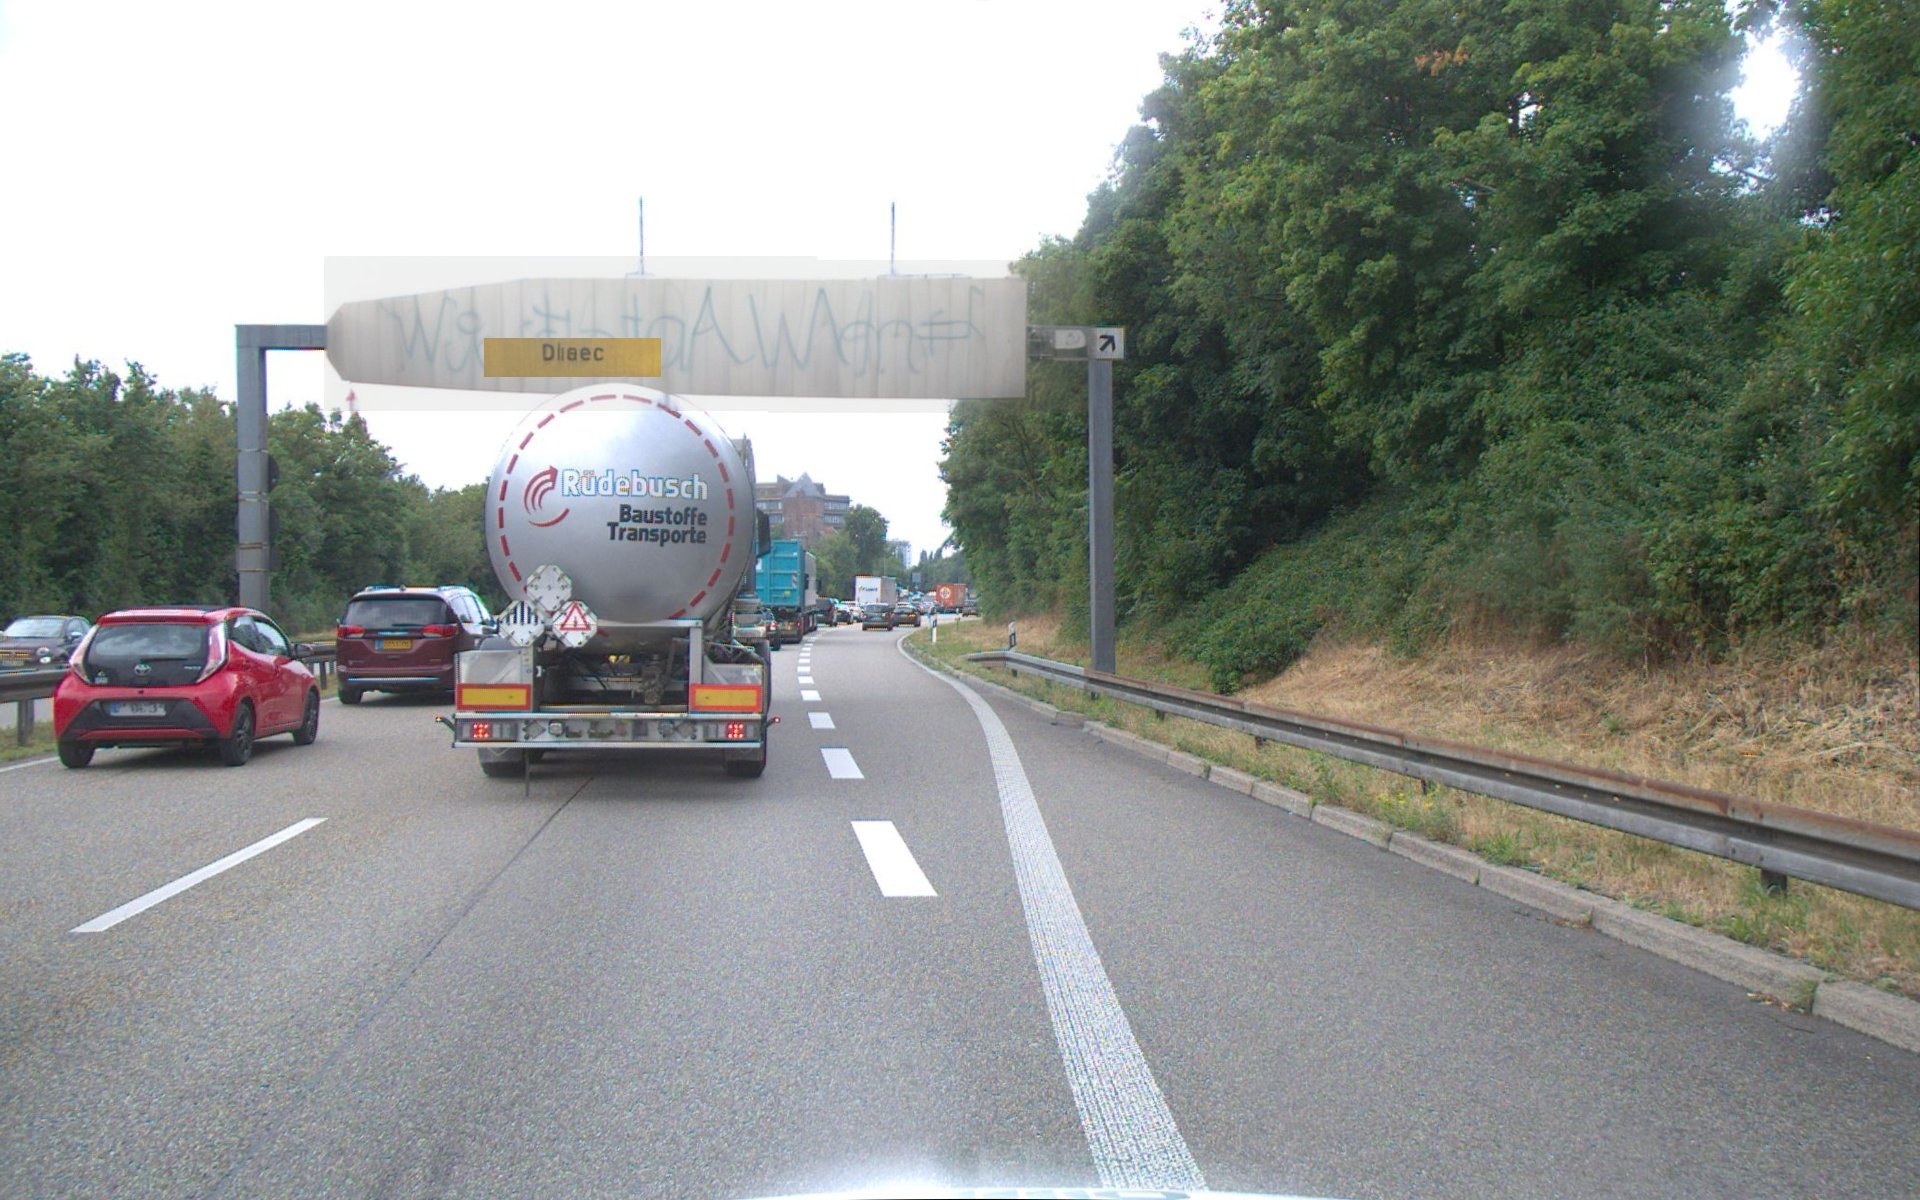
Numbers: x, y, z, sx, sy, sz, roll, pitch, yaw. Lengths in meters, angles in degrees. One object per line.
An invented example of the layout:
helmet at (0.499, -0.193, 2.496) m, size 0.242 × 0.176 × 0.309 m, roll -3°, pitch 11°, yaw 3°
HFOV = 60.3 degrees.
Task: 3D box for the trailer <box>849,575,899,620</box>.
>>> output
trailer at (-8.173, -0.181, 159.432) m, size 3.229 × 4.107 × 13.103 m, roll 1°, pitch -1°, yaw 4°

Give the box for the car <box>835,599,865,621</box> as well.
car at (-9.046, 0.787, 136.295) m, size 1.915 × 1.724 × 4.867 m, roll -1°, pitch 0°, yaw 3°

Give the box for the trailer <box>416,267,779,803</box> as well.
trailer at (-3.371, -0.494, 17.896) m, size 2.632 × 3.975 × 10.969 m, roll -1°, pitch 0°, yaw -7°

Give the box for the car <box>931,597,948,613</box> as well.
car at (-2.771, 0.700, 221.745) m, size 1.951 × 2.049 × 4.002 m, roll -1°, pitch 0°, yaw 5°

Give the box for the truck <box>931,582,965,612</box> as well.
truck at (-1.645, -0.429, 233.077) m, size 3.416 × 4.144 × 13.600 m, roll -1°, pitch 0°, yaw 5°

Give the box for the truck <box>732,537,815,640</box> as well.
truck at (-7.567, -0.441, 68.395) m, size 2.871 × 3.863 × 11.321 m, roll -1°, pitch 0°, yaw -4°

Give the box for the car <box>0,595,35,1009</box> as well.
car at (-4.204, 0.736, 3.500) m, size 2.019 × 1.489 × 5.250 m, roll -1°, pitch 0°, yaw -7°

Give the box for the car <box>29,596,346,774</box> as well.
car at (-7.536, 0.767, 16.564) m, size 1.596 × 1.550 × 4.084 m, roll 1°, pitch -1°, yaw -6°

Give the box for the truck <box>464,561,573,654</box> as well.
truck at (-10.378, 0.188, 39.122) m, size 1.956 × 2.049 × 3.993 m, roll 1°, pitch -1°, yaw -8°

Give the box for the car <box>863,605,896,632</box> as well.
car at (-4.754, 1.094, 98.366) m, size 1.788 × 1.508 × 3.999 m, roll -1°, pitch 0°, yaw -1°

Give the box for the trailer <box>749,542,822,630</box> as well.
trailer at (-8.767, -0.586, 84.560) m, size 2.573 × 4.093 × 13.459 m, roll 1°, pitch -1°, yaw -1°

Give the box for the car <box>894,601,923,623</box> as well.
car at (-3.581, 0.833, 115.056) m, size 1.787 × 1.508 × 4.000 m, roll -1°, pitch 0°, yaw 1°

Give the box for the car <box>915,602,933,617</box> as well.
car at (-4.385, 1.171, 202.190) m, size 1.681 × 1.713 × 4.002 m, roll 1°, pitch -1°, yaw 6°

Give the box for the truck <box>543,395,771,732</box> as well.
truck at (-4.011, -0.448, 23.111) m, size 2.632 × 3.975 × 6.925 m, roll -1°, pitch 0°, yaw -7°

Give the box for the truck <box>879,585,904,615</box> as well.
truck at (-9.942, 0.044, 241.485) m, size 2.681 × 4.211 × 10.700 m, roll 1°, pitch -1°, yaw 3°

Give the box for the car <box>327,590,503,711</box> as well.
car at (-8.419, 0.753, 25.886) m, size 1.840 × 1.737 × 3.993 m, roll 1°, pitch -1°, yaw -7°

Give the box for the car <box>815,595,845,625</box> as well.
car at (-8.798, 0.662, 111.910) m, size 1.949 × 1.931 × 4.979 m, roll -1°, pitch 0°, yaw -5°

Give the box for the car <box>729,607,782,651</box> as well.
car at (-6.968, 0.967, 56.608) m, size 1.714 × 1.447 × 3.659 m, roll 0°, pitch 0°, yaw -6°

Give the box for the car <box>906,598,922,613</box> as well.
car at (-6.381, 0.755, 229.060) m, size 1.779 × 2.049 × 4.002 m, roll -1°, pitch 0°, yaw 4°

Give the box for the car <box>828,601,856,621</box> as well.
car at (-8.785, 0.806, 123.242) m, size 1.809 × 1.485 × 4.830 m, roll -1°, pitch 0°, yaw -1°
